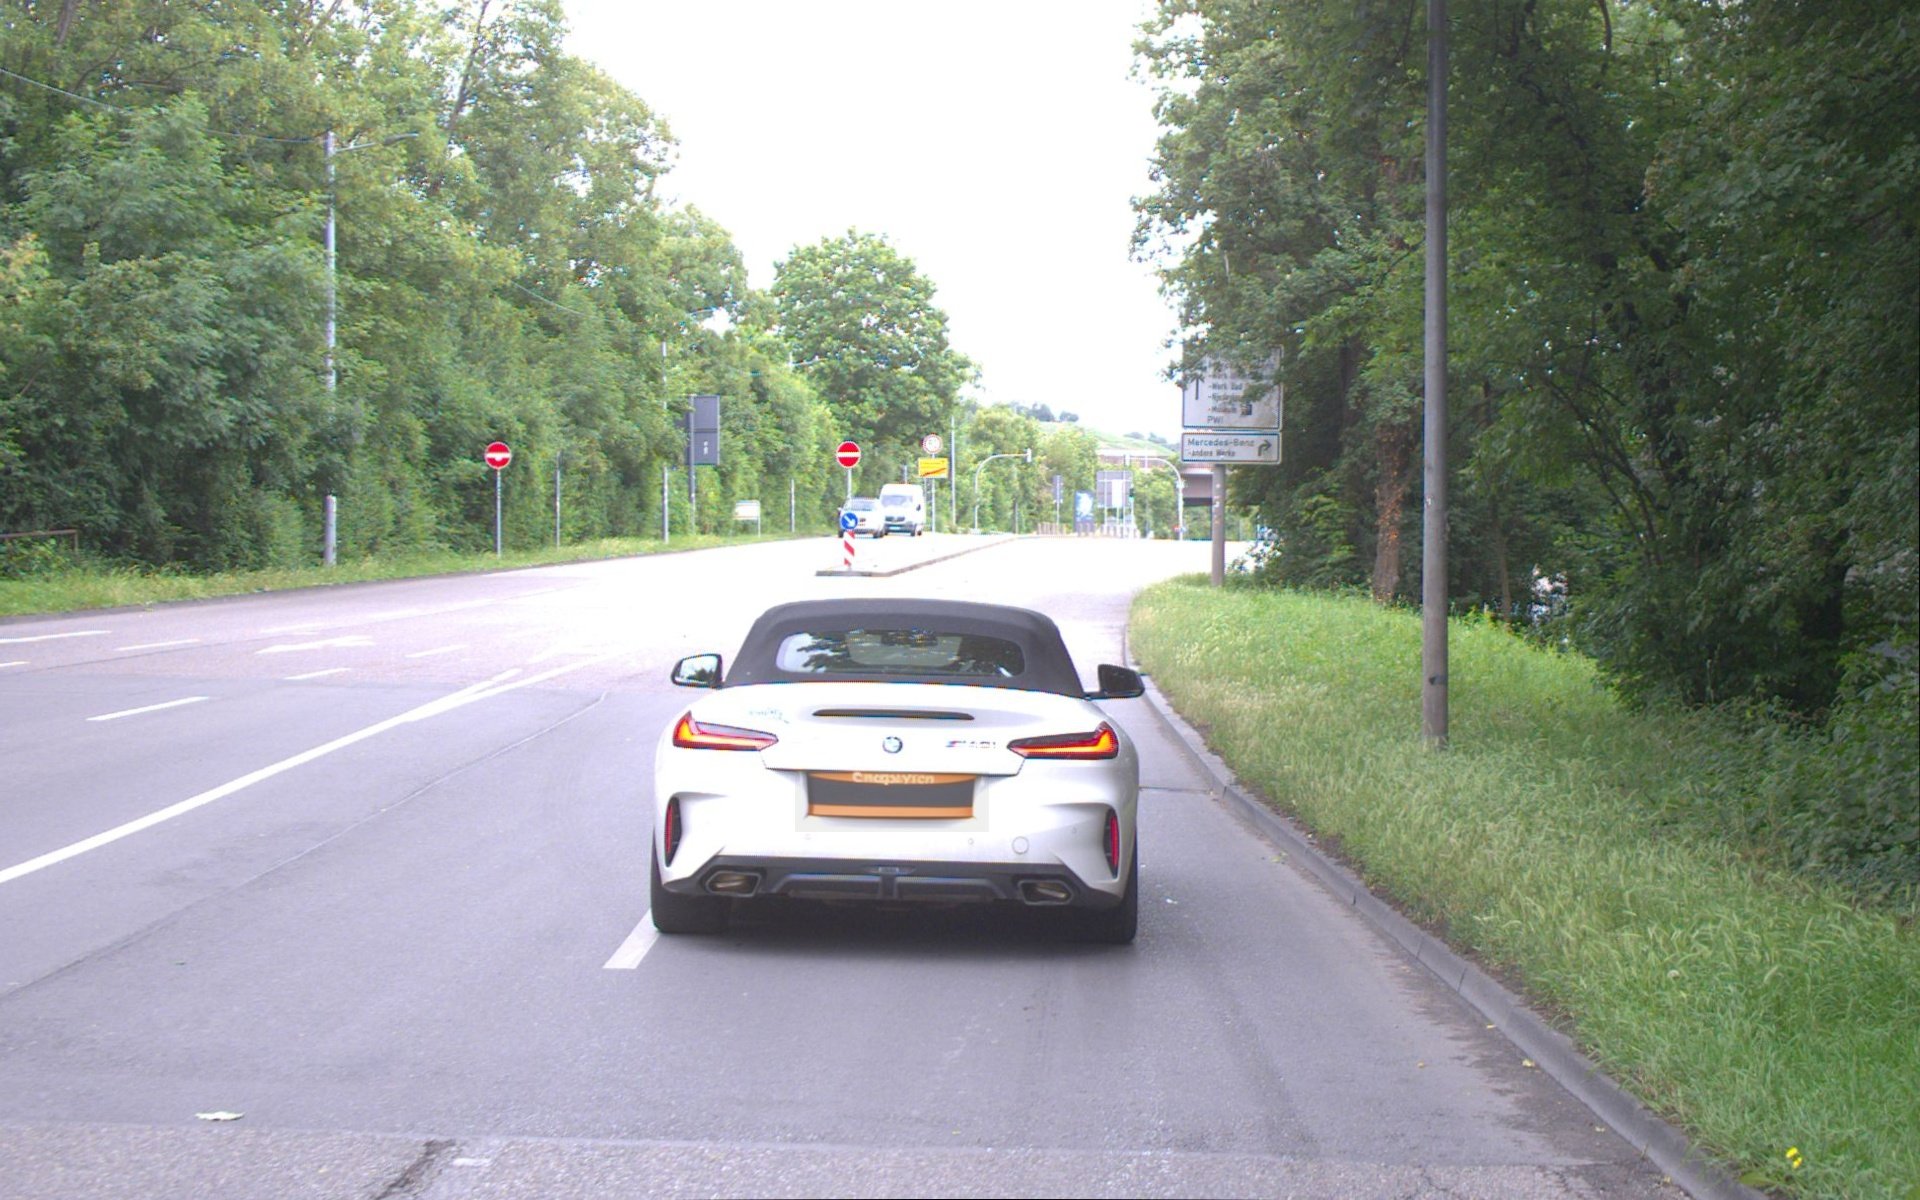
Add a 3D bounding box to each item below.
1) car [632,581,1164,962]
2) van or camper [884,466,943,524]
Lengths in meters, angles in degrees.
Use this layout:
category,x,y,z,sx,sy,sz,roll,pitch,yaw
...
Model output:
category,x,y,z,sx,sy,sz,roll,pitch,yaw
car,-0.227,0.603,14.228,1.875,1.305,3.873,1,0,0
van or camper,-2.298,-5.230,172.415,2.283,2.546,6.859,5,1,3
